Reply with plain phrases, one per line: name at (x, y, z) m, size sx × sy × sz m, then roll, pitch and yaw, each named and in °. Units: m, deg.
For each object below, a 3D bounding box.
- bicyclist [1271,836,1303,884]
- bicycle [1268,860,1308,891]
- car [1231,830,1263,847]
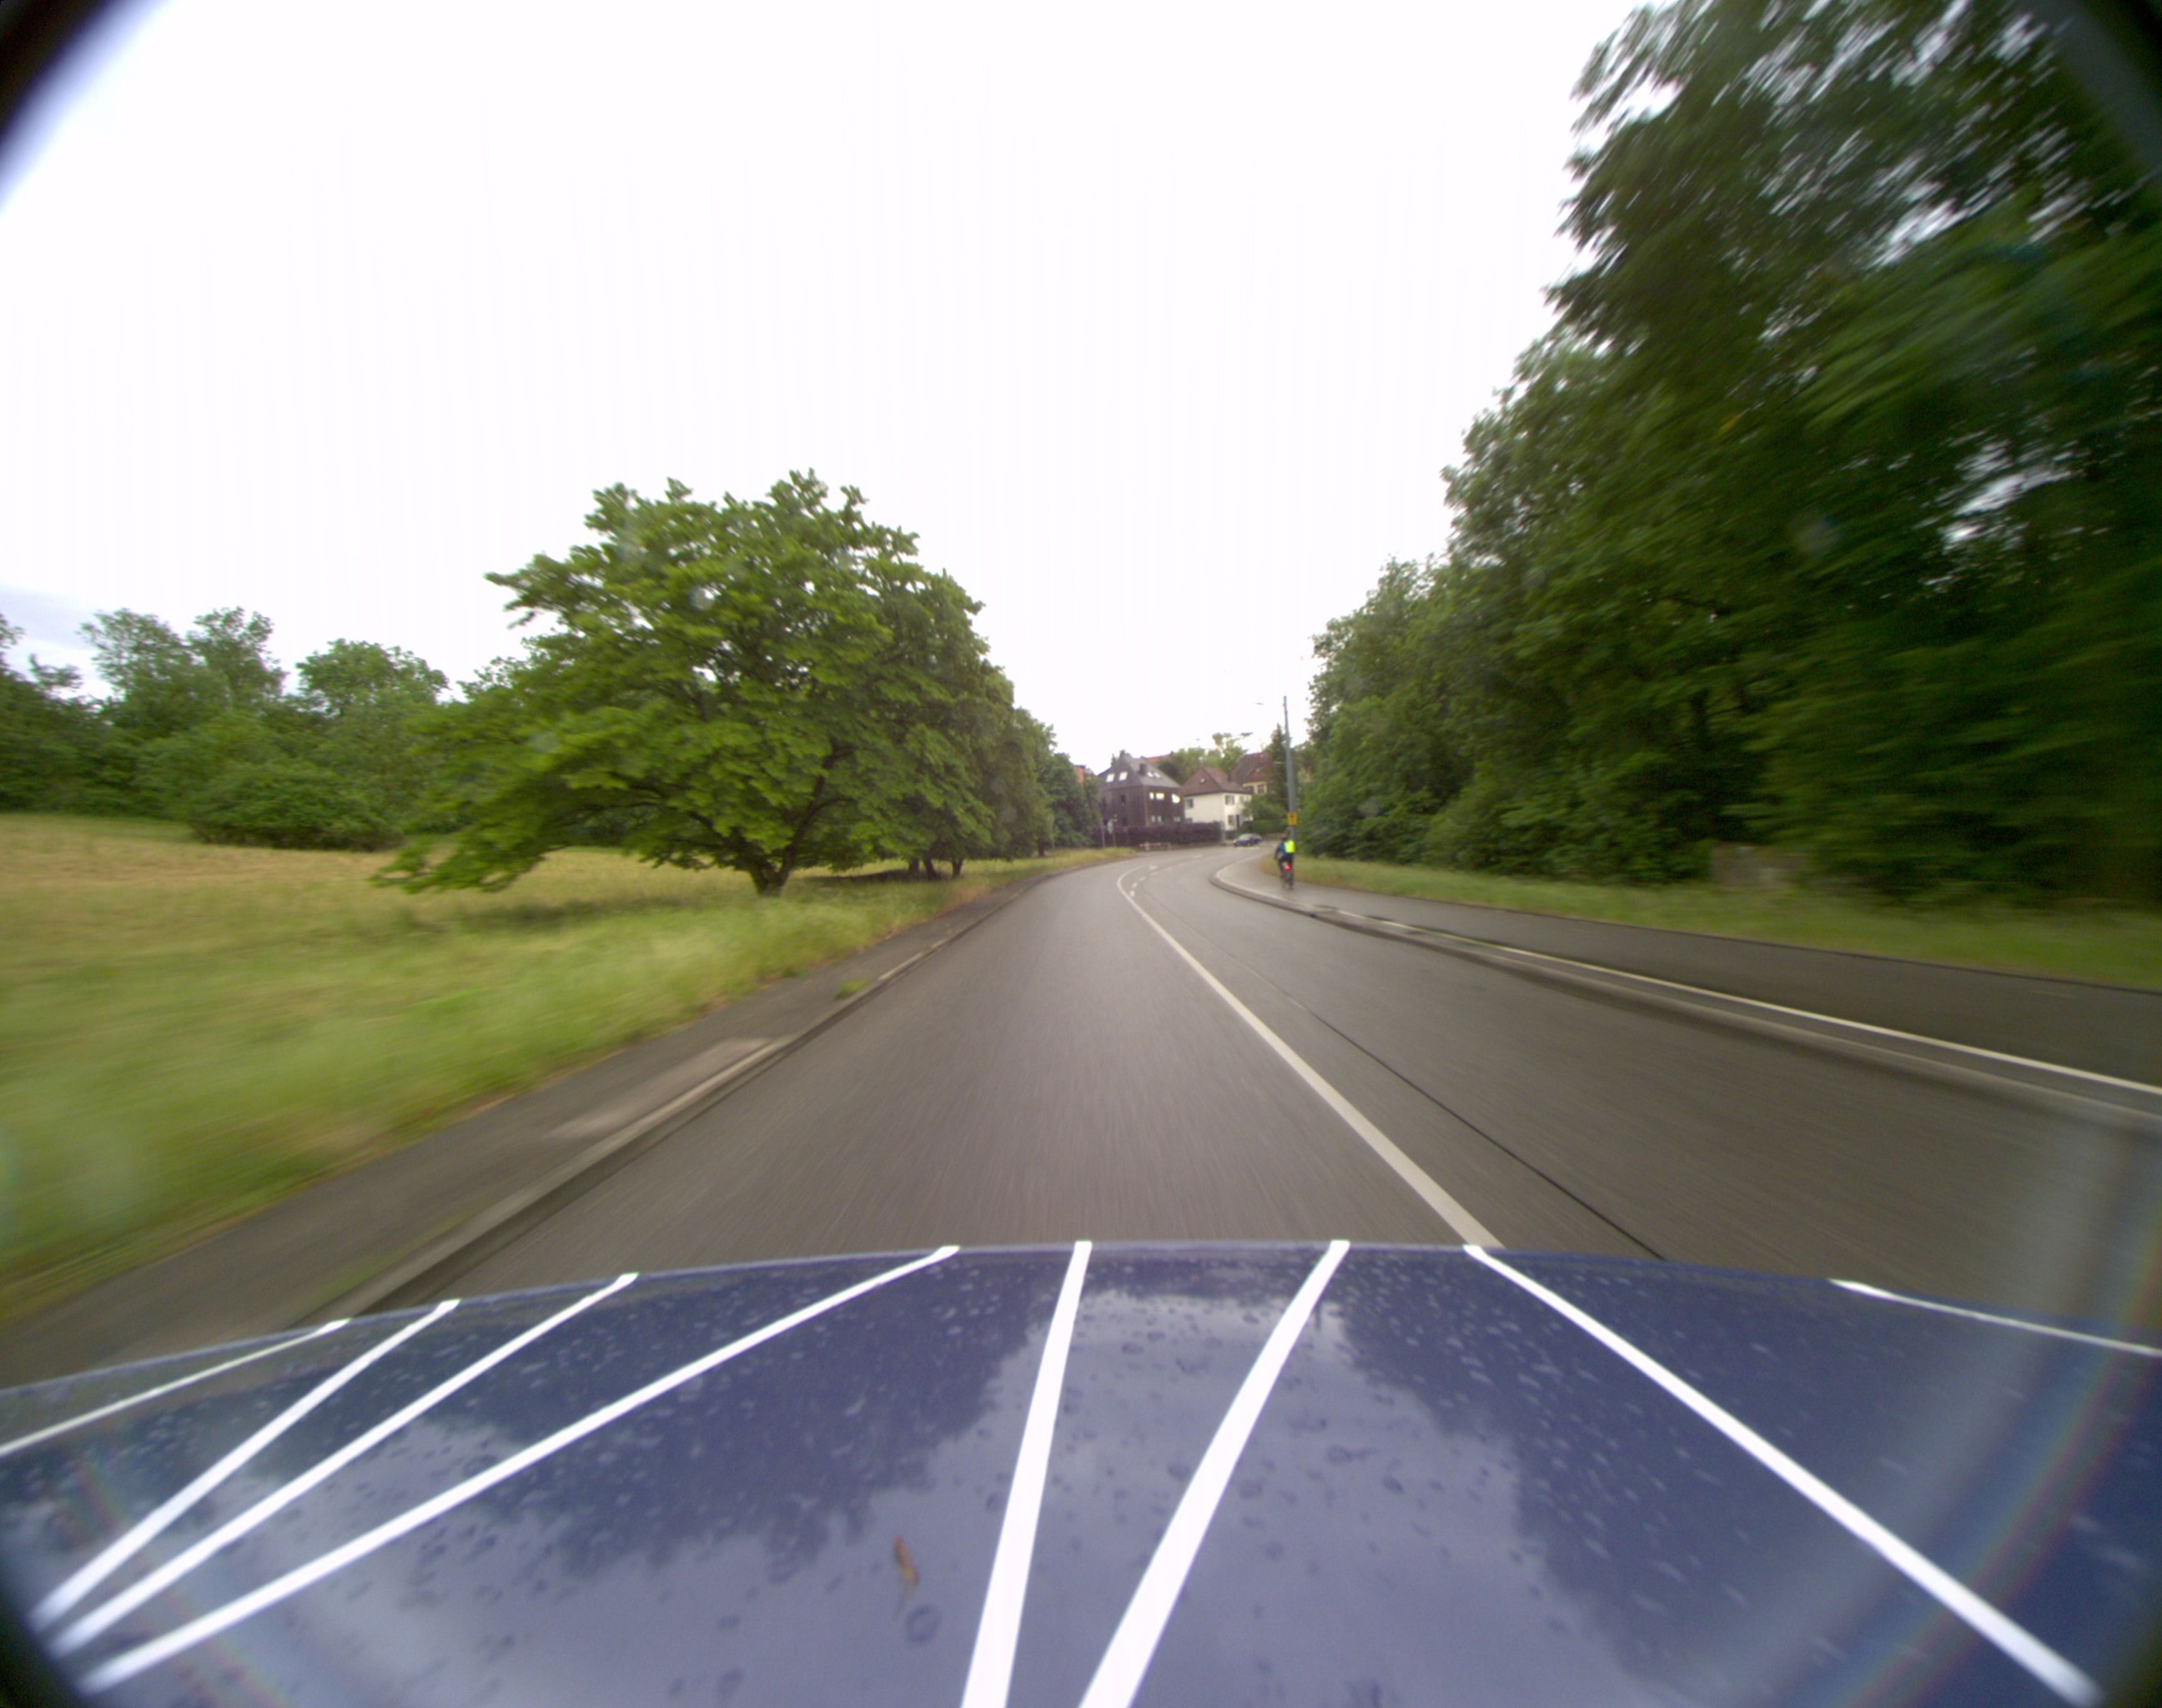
bicyclist at (7.064, 0.188, 26.078) m, size 0.710 × 1.547 × 1.171 m, roll -5°, pitch 0°, yaw 3°
bicycle at (7.117, 0.714, 26.228) m, size 0.725 × 0.936 × 2.551 m, roll -5°, pitch 0°, yaw 3°
car at (19.969, -1.906, 91.267) m, size 1.994 × 1.707 × 4.006 m, roll -2°, pitch 3°, yaw 42°
